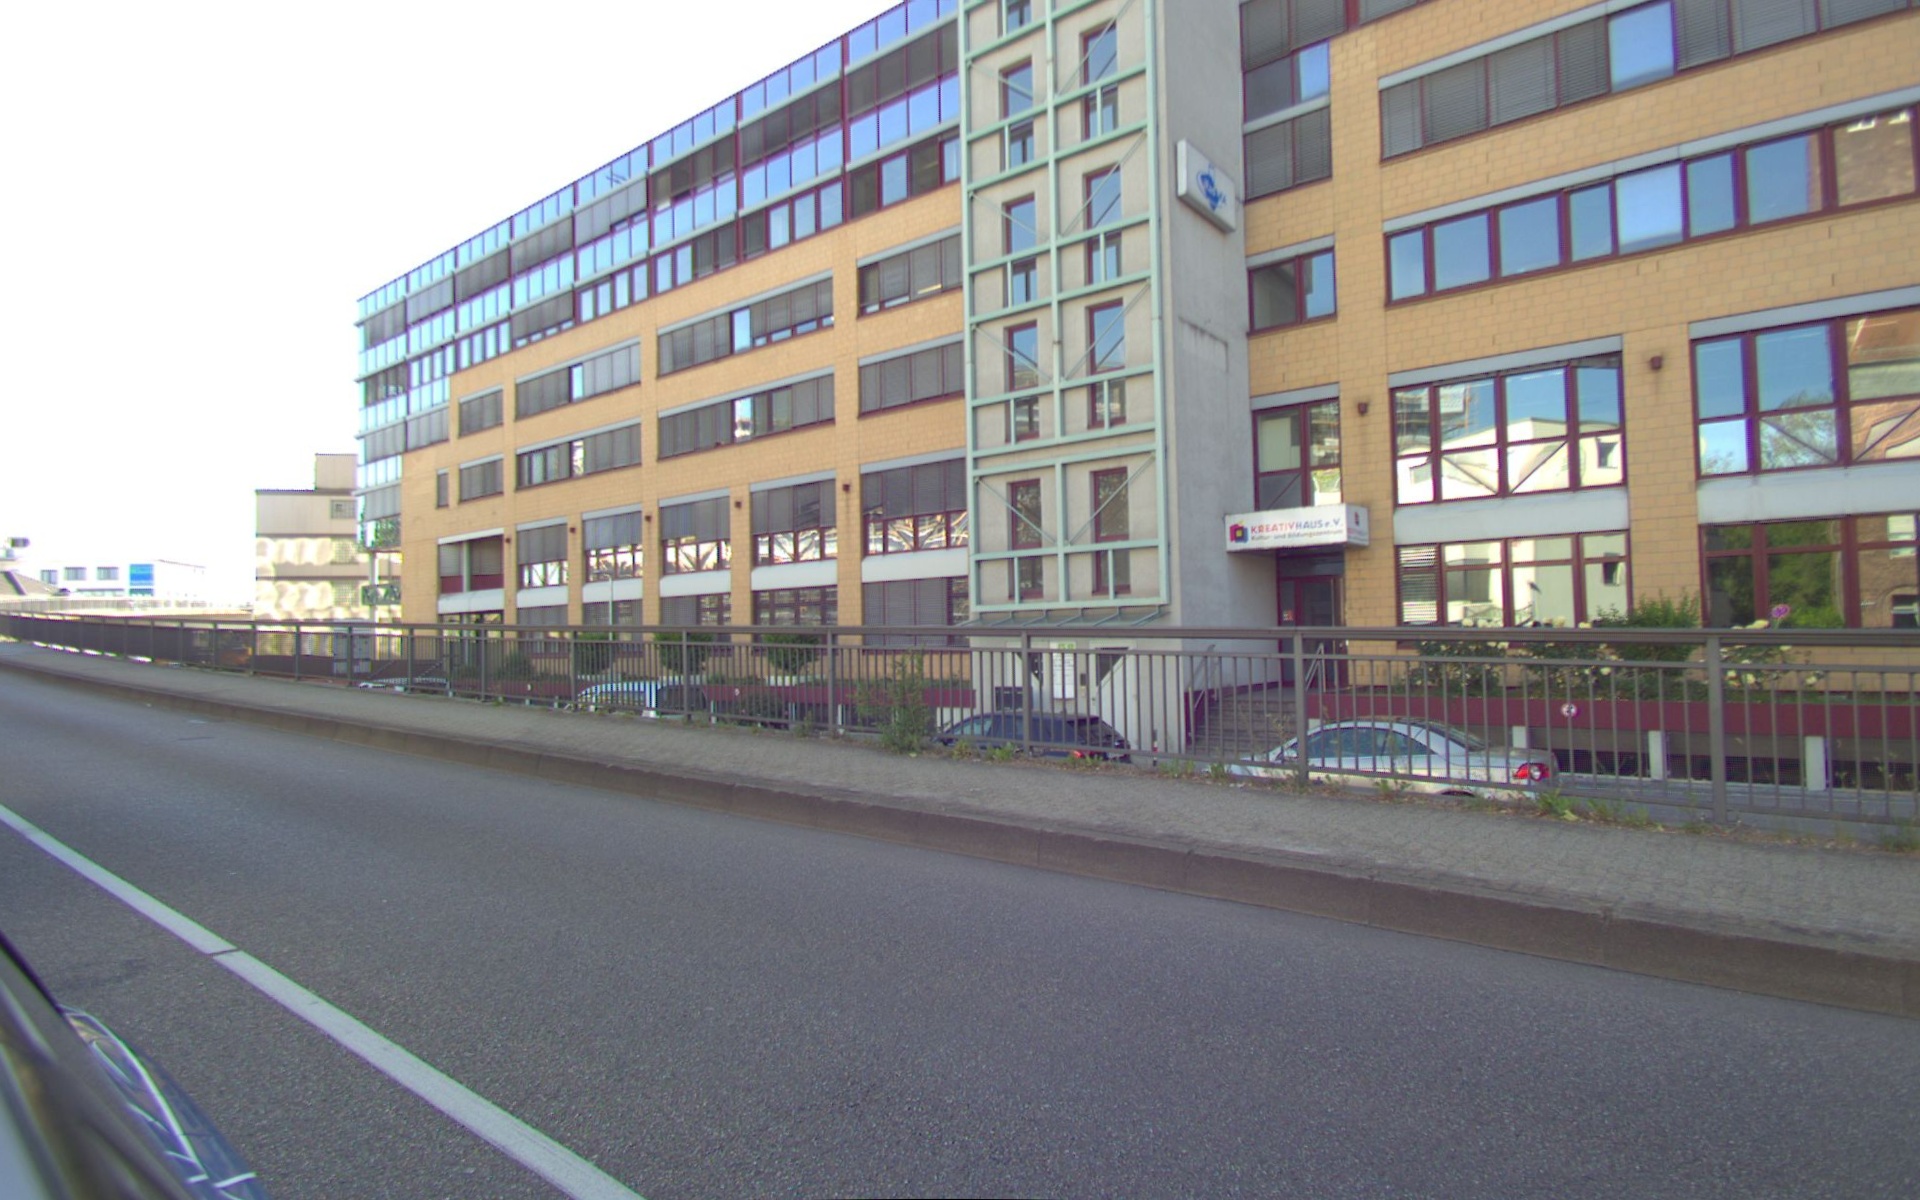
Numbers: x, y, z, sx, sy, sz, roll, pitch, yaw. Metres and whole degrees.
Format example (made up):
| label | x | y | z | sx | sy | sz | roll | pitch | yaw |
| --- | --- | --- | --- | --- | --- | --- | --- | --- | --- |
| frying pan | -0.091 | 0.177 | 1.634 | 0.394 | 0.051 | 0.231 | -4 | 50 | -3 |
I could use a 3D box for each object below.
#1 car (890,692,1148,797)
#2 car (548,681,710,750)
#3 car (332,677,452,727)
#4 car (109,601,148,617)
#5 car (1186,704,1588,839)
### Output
| label | x | y | z | sx | sy | sz | roll | pitch | yaw |
| --- | --- | --- | --- | --- | --- | --- | --- | --- | --- |
| car | 0.837 | 2.149 | 15.709 | 3.804 | 1.279 | 1.560 | -2 | -4 | 39 |
| car | -7.299 | 2.468 | 22.195 | 3.804 | 1.279 | 1.560 | -2 | -4 | 39 |
| car | -16.628 | 2.934 | 29.563 | 3.804 | 1.279 | 1.744 | -2 | -4 | 39 |
| car | -82.307 | 0.902 | 100.224 | 1.717 | 1.418 | 4.214 | 1 | -3 | -22 |
| car | 5.116 | 1.976 | 12.448 | 4.253 | 1.175 | 1.704 | -2 | -4 | 39 |
